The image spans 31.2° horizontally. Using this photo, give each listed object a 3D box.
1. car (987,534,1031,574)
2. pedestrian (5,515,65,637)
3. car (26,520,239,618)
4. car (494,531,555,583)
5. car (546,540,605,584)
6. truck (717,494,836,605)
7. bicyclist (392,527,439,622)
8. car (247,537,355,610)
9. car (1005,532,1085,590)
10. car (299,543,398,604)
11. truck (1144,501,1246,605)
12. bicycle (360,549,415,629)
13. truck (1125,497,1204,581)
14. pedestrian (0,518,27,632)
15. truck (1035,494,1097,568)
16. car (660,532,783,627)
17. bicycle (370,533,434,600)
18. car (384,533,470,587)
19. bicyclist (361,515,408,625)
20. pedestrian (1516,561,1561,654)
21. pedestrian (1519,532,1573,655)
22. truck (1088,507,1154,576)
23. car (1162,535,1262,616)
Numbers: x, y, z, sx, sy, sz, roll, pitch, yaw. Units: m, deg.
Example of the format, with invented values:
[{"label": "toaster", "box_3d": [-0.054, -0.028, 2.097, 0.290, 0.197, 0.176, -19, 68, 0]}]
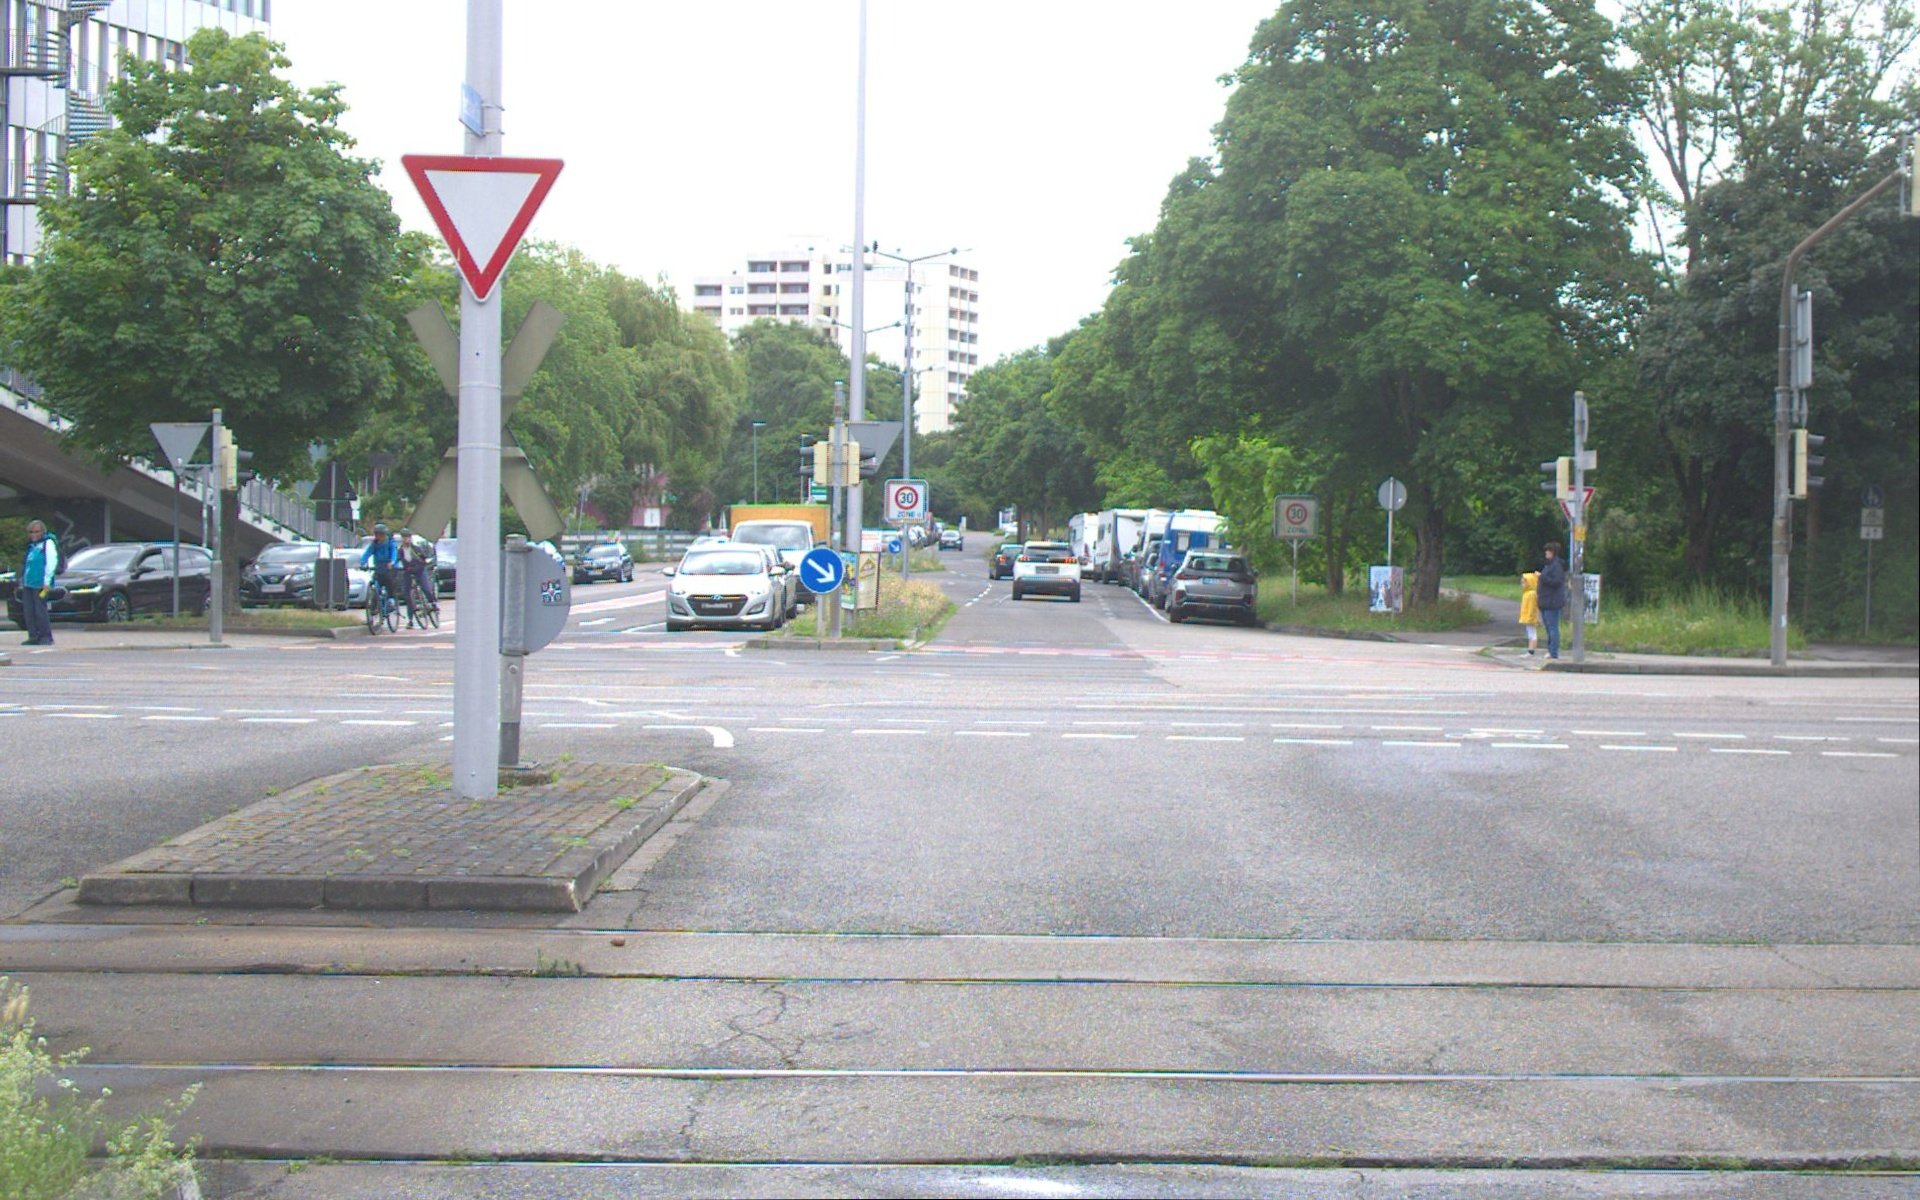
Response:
[{"label": "car", "box_3d": [1.908, -1.799, 134.218, 1.554, 1.500, 4.000, 1, 1, -1]}, {"label": "pedestrian", "box_3d": [-12.330, -0.323, 45.832, 0.687, 1.599, 0.488, 1, 1, -5]}, {"label": "car", "box_3d": [-13.769, -0.541, 57.401, 1.673, 1.546, 3.997, 1, 1, 16]}, {"label": "car", "box_3d": [-13.349, -1.331, 105.527, 1.444, 1.546, 3.664, 1, 1, -1]}, {"label": "car", "box_3d": [-14.030, -1.405, 125.655, 1.671, 1.546, 4.000, 1, 1, 0]}, {"label": "truck", "box_3d": [-3.789, -1.072, 71.813, 2.155, 2.191, 5.841, 1, 1, 0]}, {"label": "bicyclist", "box_3d": [-9.277, -0.433, 58.554, 0.679, 1.589, 0.695, 1, 0, -1]}, {"label": "car", "box_3d": [-14.854, -0.619, 77.646, 1.671, 1.546, 3.892, 1, 1, 0]}, {"label": "car", "box_3d": [2.297, -1.088, 94.233, 2.020, 1.500, 4.000, 1, 1, -1]}, {"label": "car", "box_3d": [-14.751, -0.654, 83.142, 1.671, 1.382, 3.895, 1, 1, 0]}, {"label": "truck", "box_3d": [6.152, -1.237, 90.720, 2.174, 2.647, 6.247, 0, 1, -1]}, {"label": "bicycle", "box_3d": [-9.332, -0.190, 56.069, 0.543, 1.263, 2.111, 1, 1, -1]}, {"label": "truck", "box_3d": [7.102, -2.117, 120.062, 1.993, 2.828, 5.732, 1, 1, -4]}, {"label": "pedestrian", "box_3d": [-12.959, -0.342, 45.918, 0.917, 1.505, 0.404, 1, 1, -11]}, {"label": "truck", "box_3d": [4.388, -2.851, 142.922, 1.993, 2.998, 5.773, 1, 1, -4]}, {"label": "car", "box_3d": [-3.986, -0.373, 57.973, 1.789, 1.514, 4.326, 1, 1, -1]}, {"label": "bicycle", "box_3d": [-9.370, -0.577, 57.791, 0.726, 1.097, 2.264, 1, 1, -1]}, {"label": "car", "box_3d": [-14.481, -1.107, 93.555, 1.763, 1.390, 4.000, 1, 1, -1]}, {"label": "bicyclist", "box_3d": [-9.306, -0.491, 55.586, 0.644, 1.762, 0.647, 1, 1, -1]}, {"label": "pedestrian", "box_3d": [8.389, 0.103, 49.864, 0.527, 1.337, 0.525, 1, 1, -1]}, {"label": "pedestrian", "box_3d": [8.396, -0.091, 49.232, 0.657, 1.744, 0.459, 1, 1, -1]}, {"label": "truck", "box_3d": [6.165, -2.244, 132.135, 1.993, 2.564, 5.379, 1, 1, -2]}, {"label": "car", "box_3d": [5.397, -0.543, 73.929, 1.784, 1.656, 4.000, 1, 1, -1]}]
